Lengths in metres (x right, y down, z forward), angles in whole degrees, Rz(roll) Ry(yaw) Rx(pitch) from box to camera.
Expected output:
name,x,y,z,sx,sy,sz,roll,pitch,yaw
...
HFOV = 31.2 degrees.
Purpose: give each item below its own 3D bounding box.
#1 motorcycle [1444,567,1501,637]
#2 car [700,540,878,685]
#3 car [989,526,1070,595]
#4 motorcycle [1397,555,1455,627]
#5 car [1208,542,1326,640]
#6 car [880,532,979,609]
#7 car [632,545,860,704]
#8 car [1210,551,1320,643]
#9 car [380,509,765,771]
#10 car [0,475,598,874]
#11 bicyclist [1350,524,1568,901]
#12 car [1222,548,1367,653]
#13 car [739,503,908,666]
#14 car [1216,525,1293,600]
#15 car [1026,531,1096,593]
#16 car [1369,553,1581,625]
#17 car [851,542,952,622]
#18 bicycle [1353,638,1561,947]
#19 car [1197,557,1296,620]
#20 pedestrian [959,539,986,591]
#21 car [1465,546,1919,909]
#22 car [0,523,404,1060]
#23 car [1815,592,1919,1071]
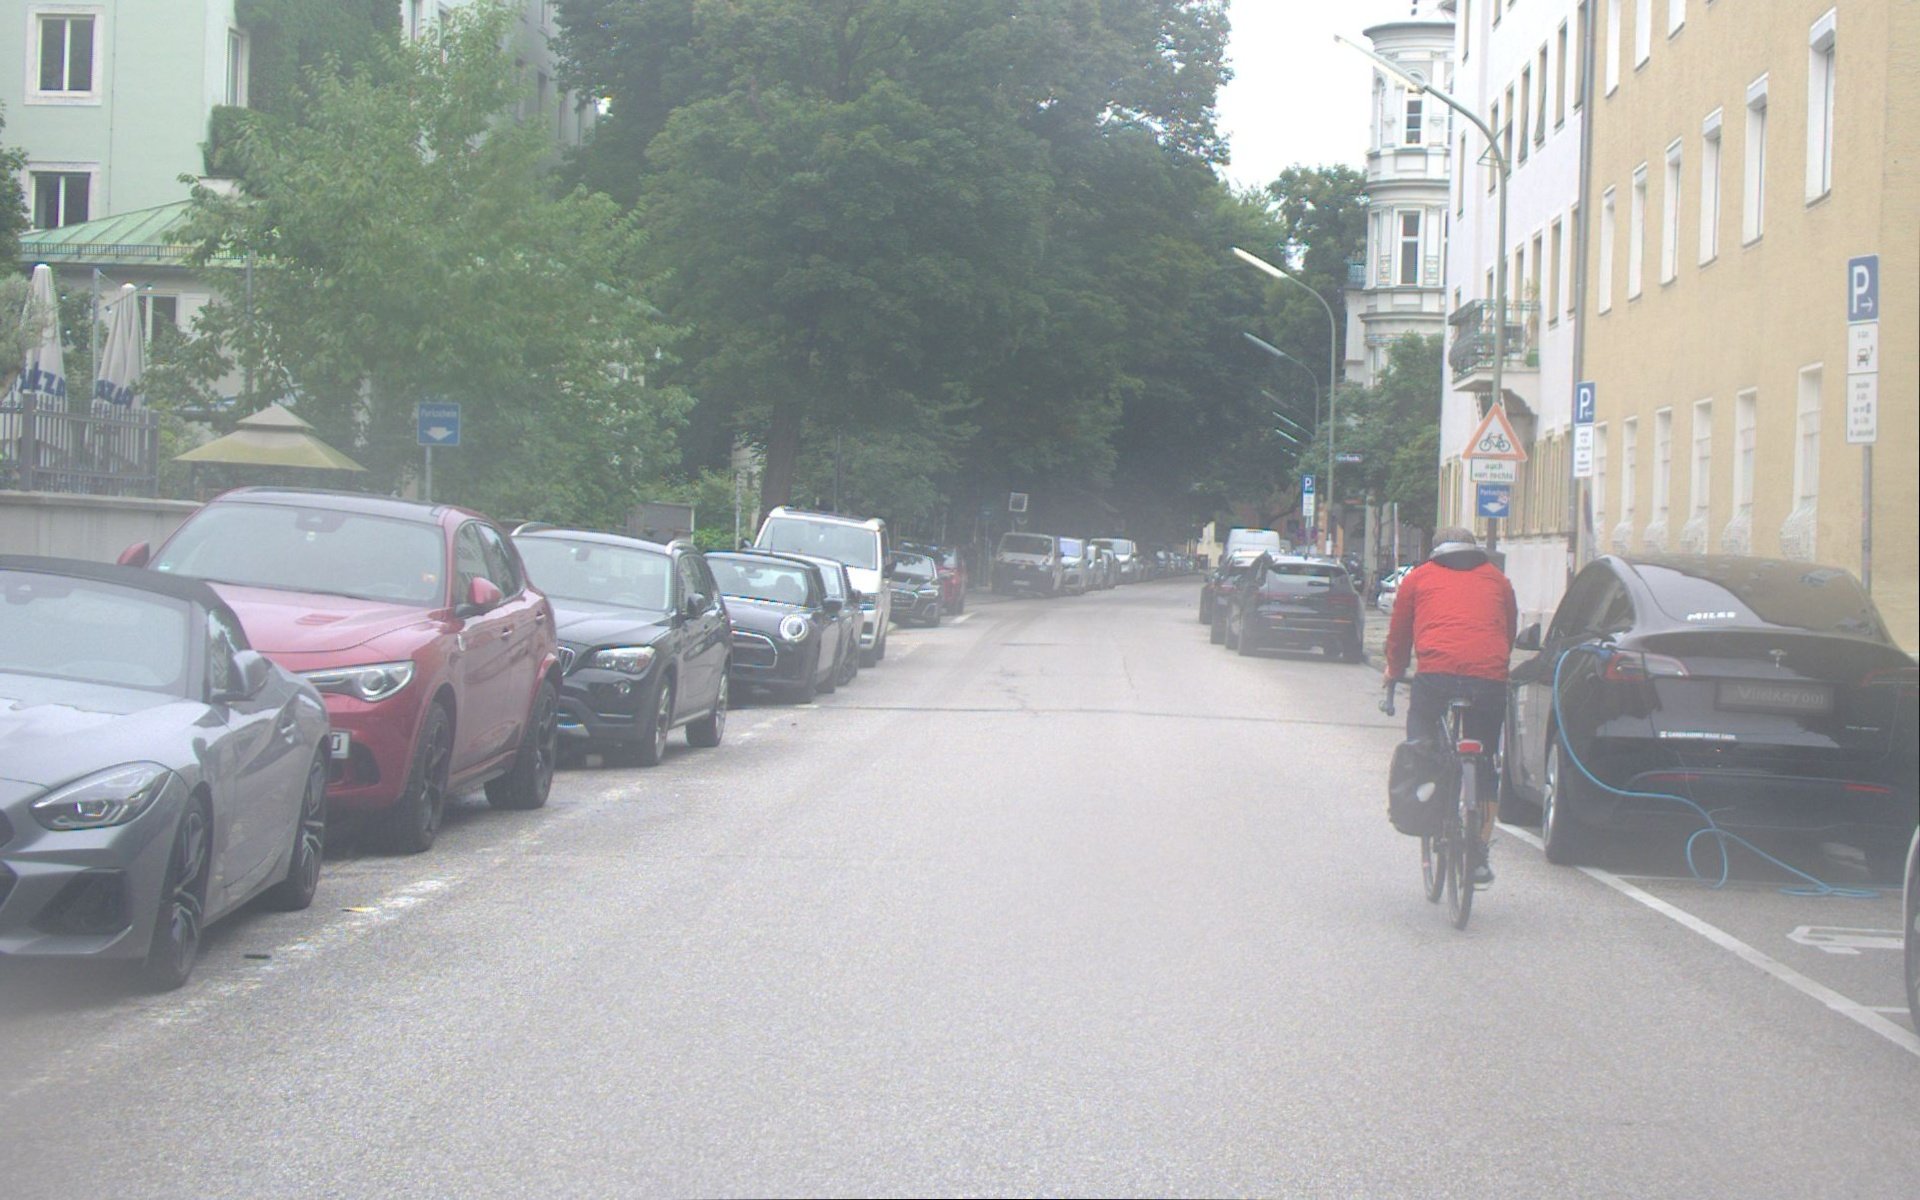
name,x,y,z,sx,sy,sz,roll,pitch,yaw
motorcycle,9.373,0.027,62.970,0.732,1.235,2.007,3,1,2
car,-1.964,0.100,40.716,1.887,1.538,4.696,2,1,-1
car,2.167,-1.212,105.203,2.248,1.950,5.453,3,1,3
motorcycle,9.714,-0.201,71.754,0.857,1.428,2.707,2,1,1
car,5.879,-0.207,66.219,1.994,1.701,4.534,4,1,3
car,-0.648,-0.672,77.176,1.887,1.585,4.527,3,1,3
car,-2.148,0.211,35.630,1.859,1.539,4.187,0,1,3
car,5.369,-0.082,60.938,1.839,1.526,4.415,1,1,4
car,-2.665,0.231,24.768,1.846,1.602,4.742,3,1,4
car,-3.261,0.299,17.875,1.902,1.686,4.808,3,1,3
bicyclist,2.068,0.450,14.368,0.754,1.478,0.981,3,1,4
car,5.346,-0.033,55.494,1.860,1.571,4.900,1,1,0
car,-1.790,-0.237,46.684,1.966,1.983,5.152,3,1,0
car,8.941,-1.139,104.676,2.204,2.201,4.855,1,0,4
car,3.459,-1.300,116.852,2.184,1.950,5.166,3,1,3
car,12.551,-0.283,84.016,4.906,1.526,1.913,2,3,3
car,-1.104,-0.384,67.453,1.807,1.397,4.924,3,1,0
bicycle,2.066,0.765,14.512,0.672,1.137,2.011,3,1,4
car,6.279,-0.275,75.711,2.000,1.314,4.595,0,1,3
pedestrian,0.374,-1.077,104.816,0.713,1.543,0.752,4,1,0
car,4.024,0.577,18.911,1.994,1.625,5.099,3,1,4
car,-3.365,0.511,12.483,1.896,1.513,4.655,3,1,0
car,3.993,0.799,9.369,1.993,1.455,4.957,3,1,0
